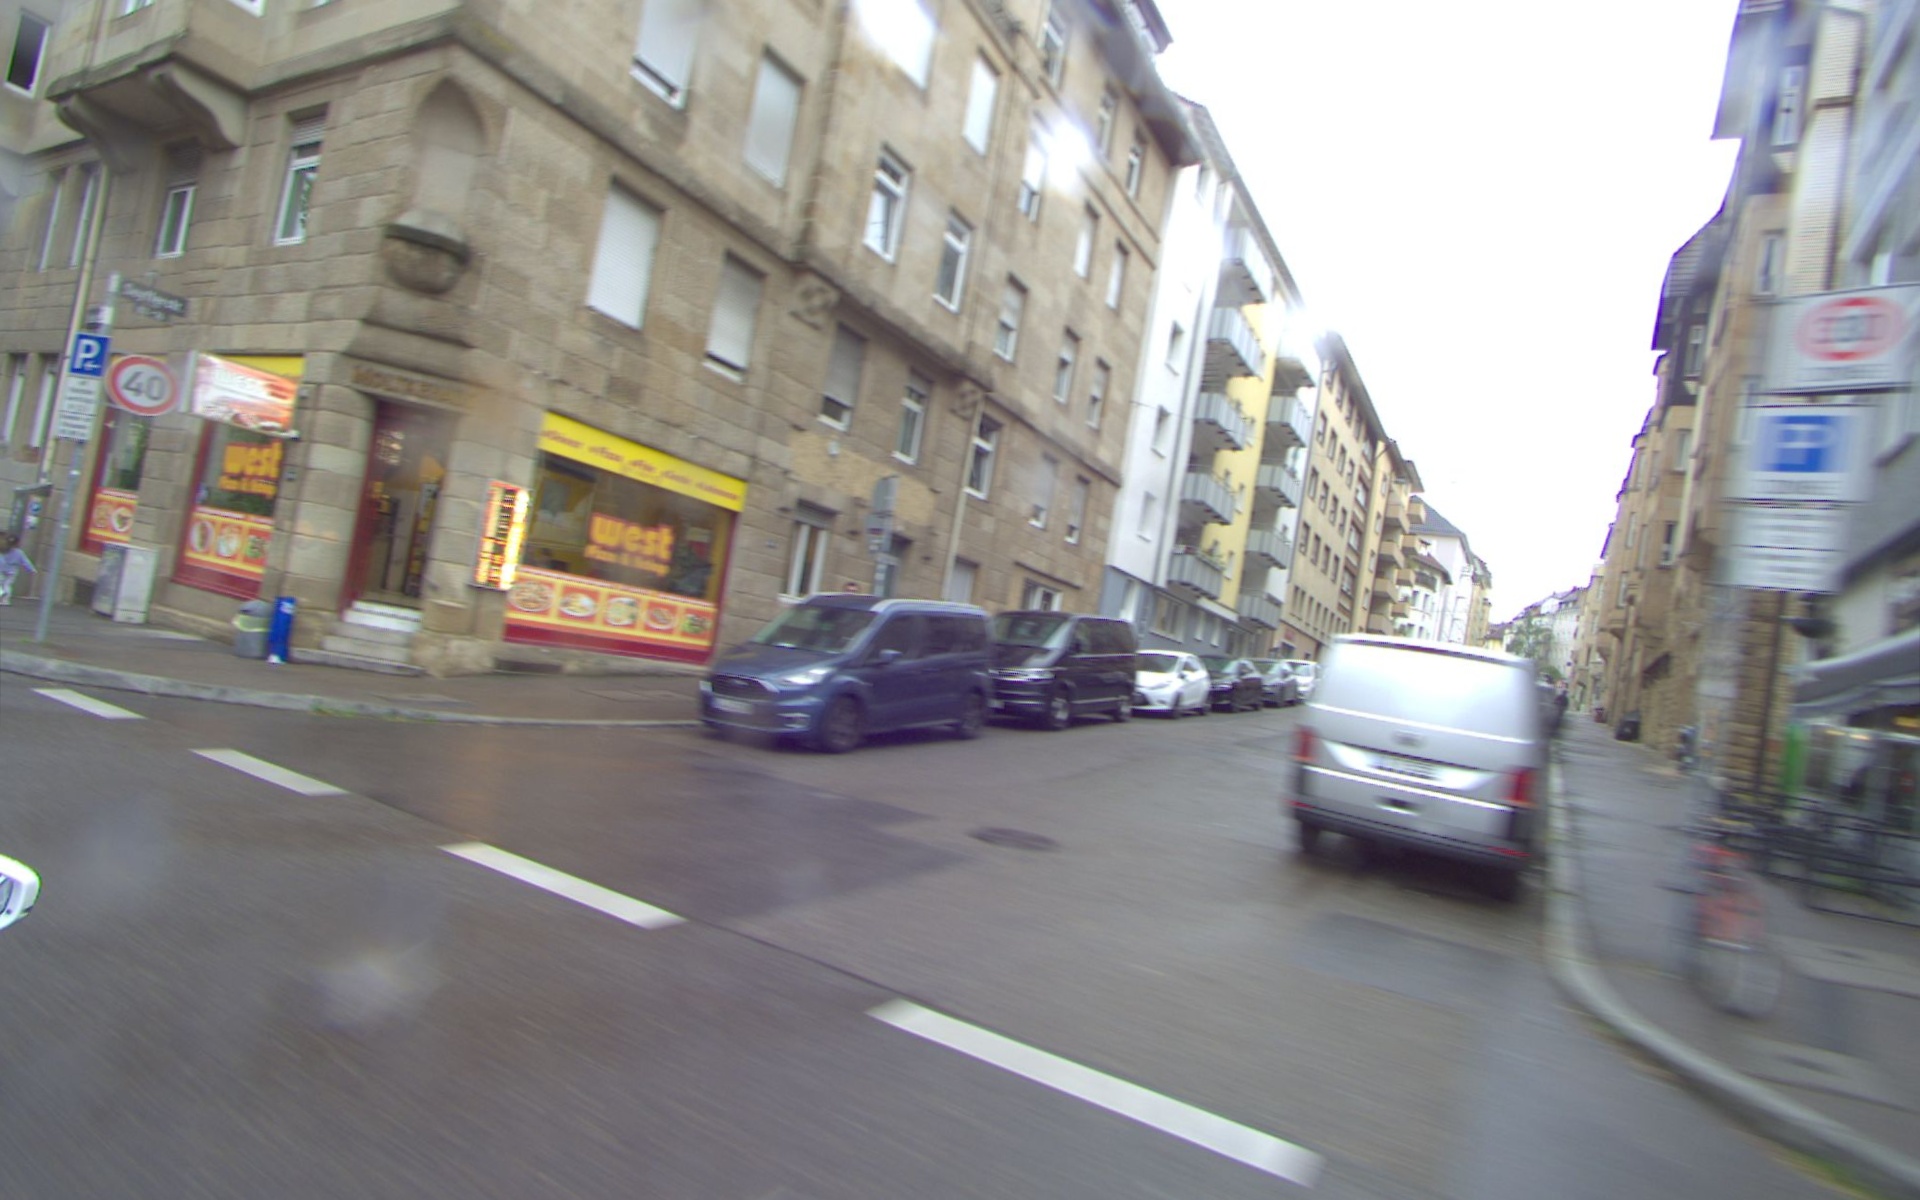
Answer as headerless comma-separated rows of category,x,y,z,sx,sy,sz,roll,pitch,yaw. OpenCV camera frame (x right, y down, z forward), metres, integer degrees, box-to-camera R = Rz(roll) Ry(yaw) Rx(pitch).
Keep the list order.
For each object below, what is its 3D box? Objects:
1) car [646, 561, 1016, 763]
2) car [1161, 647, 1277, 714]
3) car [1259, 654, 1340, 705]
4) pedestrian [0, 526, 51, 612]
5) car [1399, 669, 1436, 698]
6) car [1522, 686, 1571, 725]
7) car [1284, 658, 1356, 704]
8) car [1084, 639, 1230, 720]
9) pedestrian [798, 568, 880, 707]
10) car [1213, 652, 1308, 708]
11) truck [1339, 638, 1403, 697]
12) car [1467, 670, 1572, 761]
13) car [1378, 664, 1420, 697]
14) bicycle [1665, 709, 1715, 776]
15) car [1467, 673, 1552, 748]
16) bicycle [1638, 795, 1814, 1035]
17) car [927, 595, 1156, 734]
car,-1.341,0.781,12.682,1.966,1.884,4.786,7,-1,30
car,6.989,2.136,26.840,1.831,1.408,4.180,7,-1,30
car,12.217,2.841,36.007,1.831,1.501,4.180,7,-1,30
pedestrian,-12.645,-0.426,13.414,0.616,1.061,0.512,7,-2,31
car,30.630,5.585,67.346,1.725,1.667,3.994,7,0,30
car,28.440,5.112,48.867,1.794,1.521,4.101,8,-1,30
car,14.349,3.222,39.975,1.831,1.501,4.180,7,-1,30
car,4.511,1.779,22.555,1.831,1.408,4.180,7,-1,30
pedestrian,-1.887,0.593,15.665,0.744,2.038,0.627,9,1,32
car,9.515,2.512,31.594,1.831,1.408,4.180,7,-1,30
truck,20.544,3.390,50.047,1.830,2.553,6.710,7,-1,30
car,13.926,2.844,25.052,1.893,1.760,4.480,8,-1,30
car,26.103,4.793,59.803,1.725,1.667,3.994,7,0,30
bicycle,17.042,3.298,23.532,0.527,1.424,2.302,7,-1,29
car,16.685,3.330,30.521,1.893,1.825,4.480,8,-1,30
bicycle,4.278,1.684,5.719,0.524,0.983,1.753,7,-3,32
car,1.591,1.110,17.572,1.967,1.949,4.710,5,-1,31
